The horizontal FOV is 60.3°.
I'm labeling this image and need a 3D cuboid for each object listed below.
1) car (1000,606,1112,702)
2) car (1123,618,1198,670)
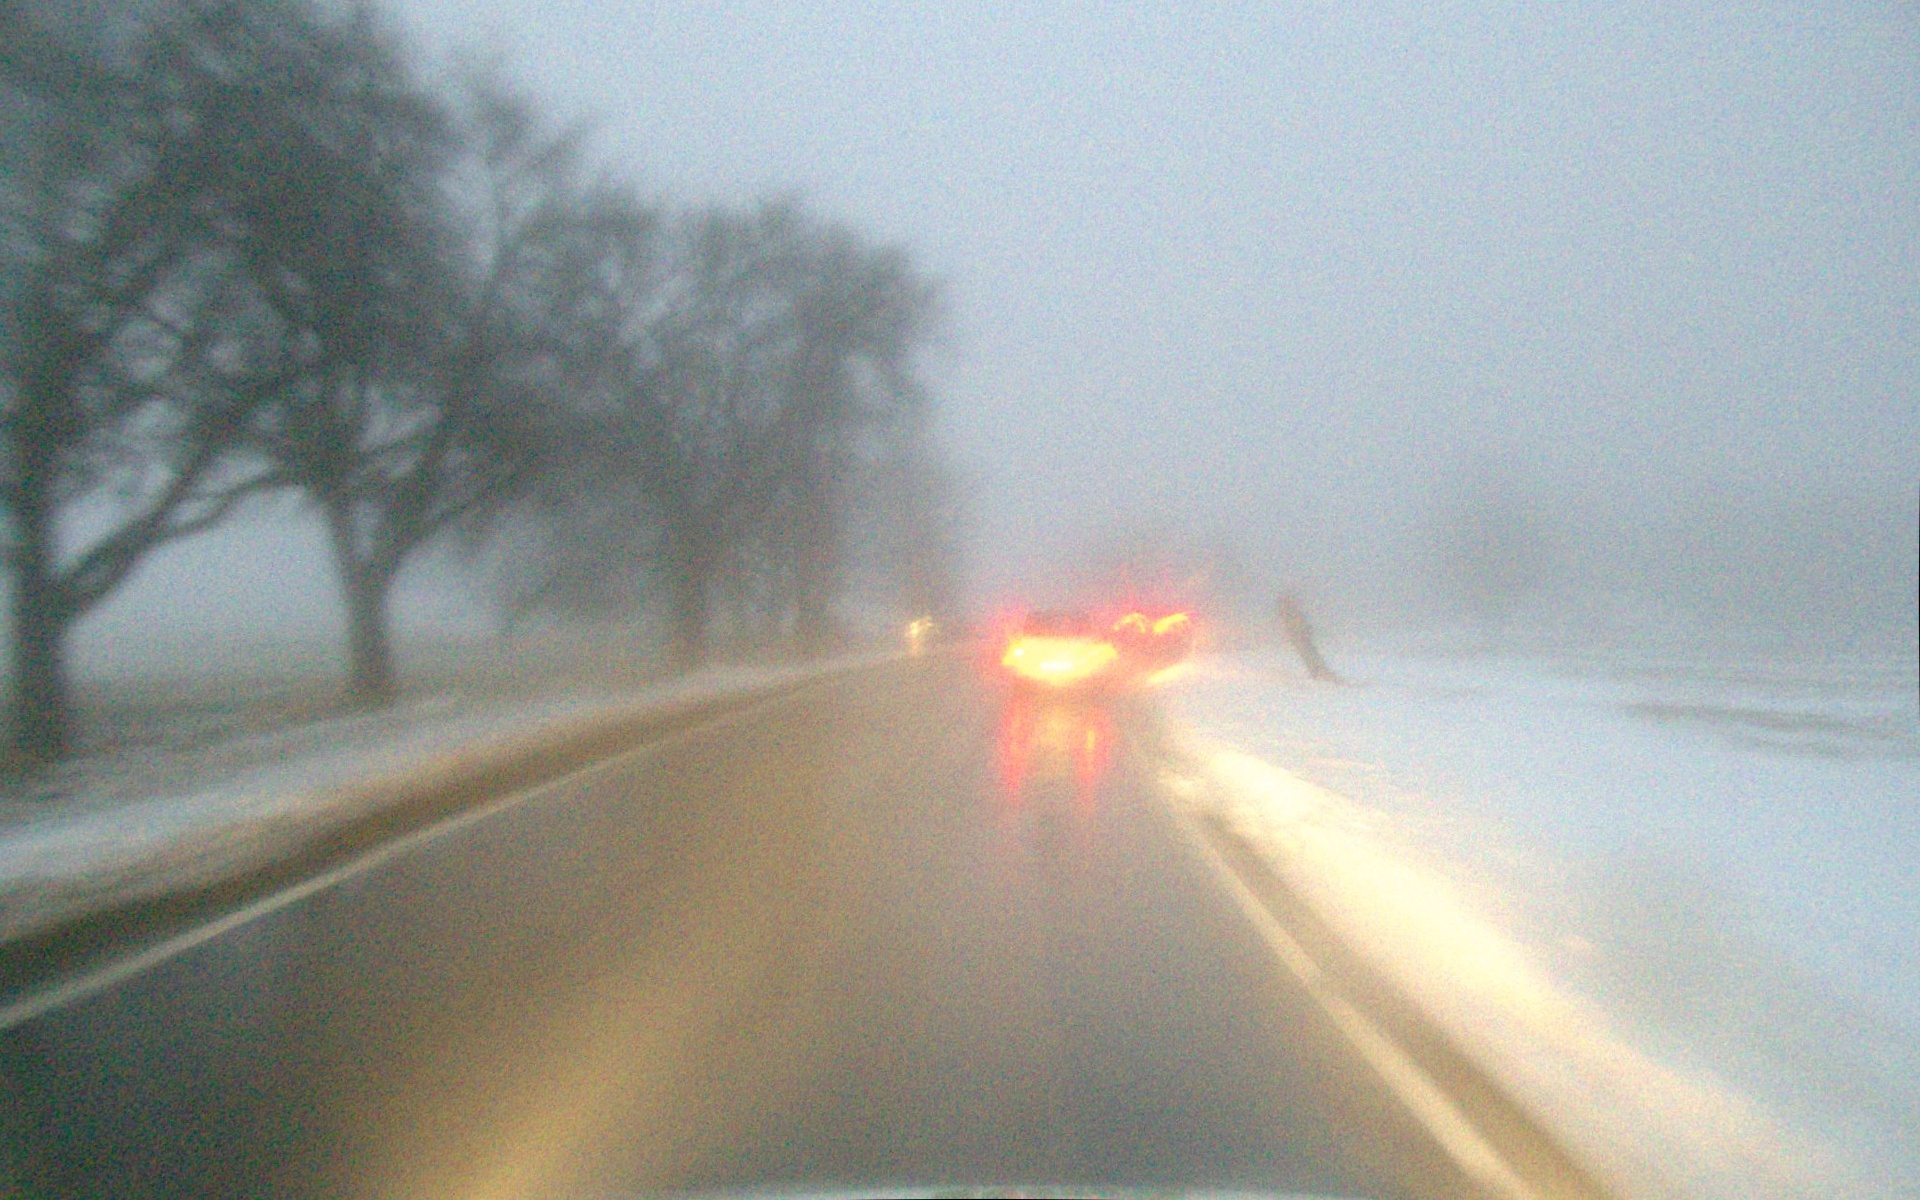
[{"bbox_3d":[1.600,0.883,28.808,1.672,1.489,4.000,2,0,0],"label":"car"},{"bbox_3d":[6.196,1.336,50.914,1.449,1.534,3.051,0,0,25],"label":"car"}]
